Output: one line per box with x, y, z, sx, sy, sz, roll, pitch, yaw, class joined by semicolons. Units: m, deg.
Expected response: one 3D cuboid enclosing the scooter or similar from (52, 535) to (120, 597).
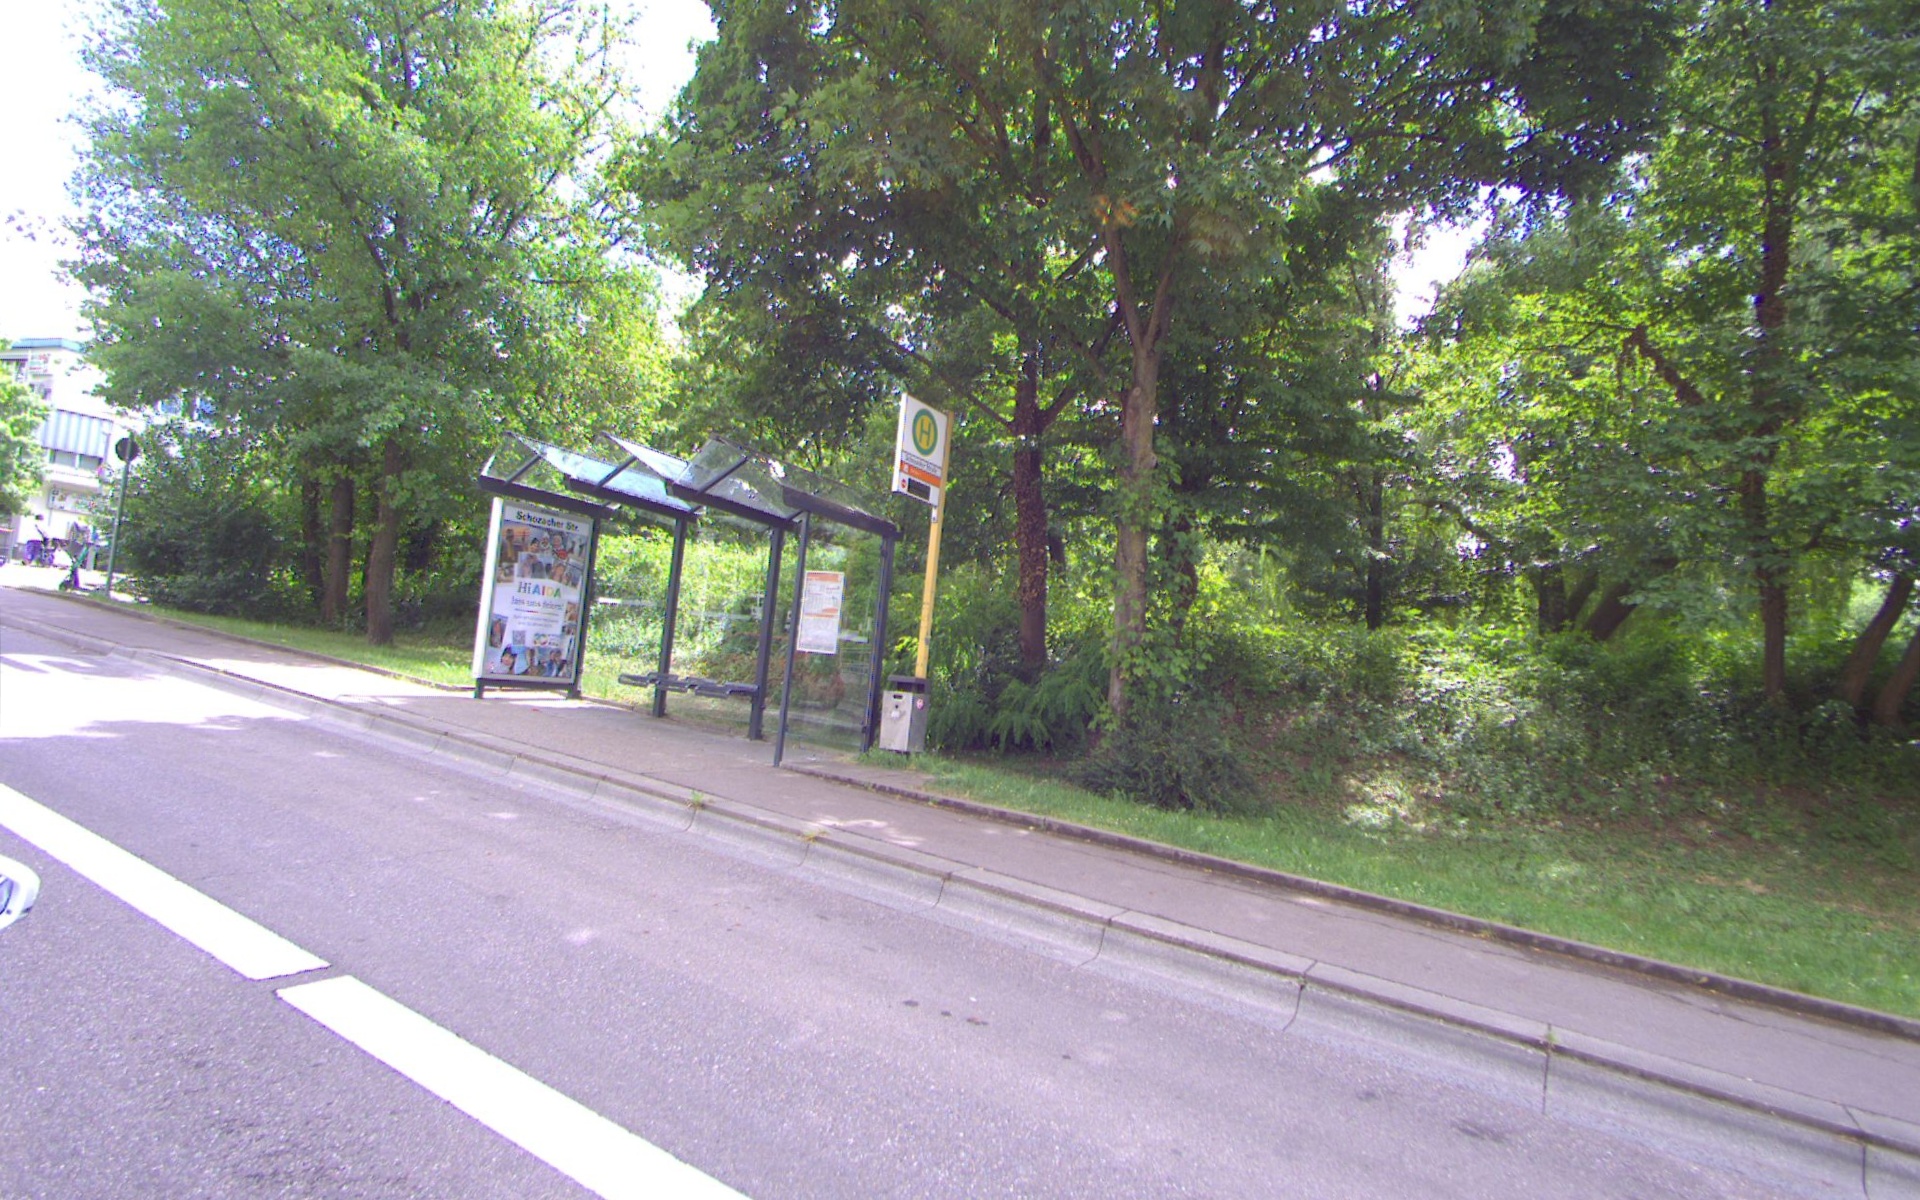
-20.223;-0.790;23.295;0.447;1.242;0.893;6;-6;32;scooter or similar

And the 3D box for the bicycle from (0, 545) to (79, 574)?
-26.527;-1.159;29.005;1.568;0.617;0.532;8;-2;-19;bicycle

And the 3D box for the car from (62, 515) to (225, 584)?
-32.793;-1.965;40.563;1.964;2.036;4.551;6;-2;24;car

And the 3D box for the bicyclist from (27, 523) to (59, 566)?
-26.444;-1.594;29.017;0.394;1.170;0.501;7;-1;-19;bicyclist

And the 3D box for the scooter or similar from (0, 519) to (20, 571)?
-24.942;-1.478;25.668;0.546;1.286;1.153;6;-3;34;scooter or similar

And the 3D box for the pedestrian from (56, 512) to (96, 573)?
-26.536;-1.729;30.212;0.653;1.733;0.458;8;-1;-32;pedestrian
